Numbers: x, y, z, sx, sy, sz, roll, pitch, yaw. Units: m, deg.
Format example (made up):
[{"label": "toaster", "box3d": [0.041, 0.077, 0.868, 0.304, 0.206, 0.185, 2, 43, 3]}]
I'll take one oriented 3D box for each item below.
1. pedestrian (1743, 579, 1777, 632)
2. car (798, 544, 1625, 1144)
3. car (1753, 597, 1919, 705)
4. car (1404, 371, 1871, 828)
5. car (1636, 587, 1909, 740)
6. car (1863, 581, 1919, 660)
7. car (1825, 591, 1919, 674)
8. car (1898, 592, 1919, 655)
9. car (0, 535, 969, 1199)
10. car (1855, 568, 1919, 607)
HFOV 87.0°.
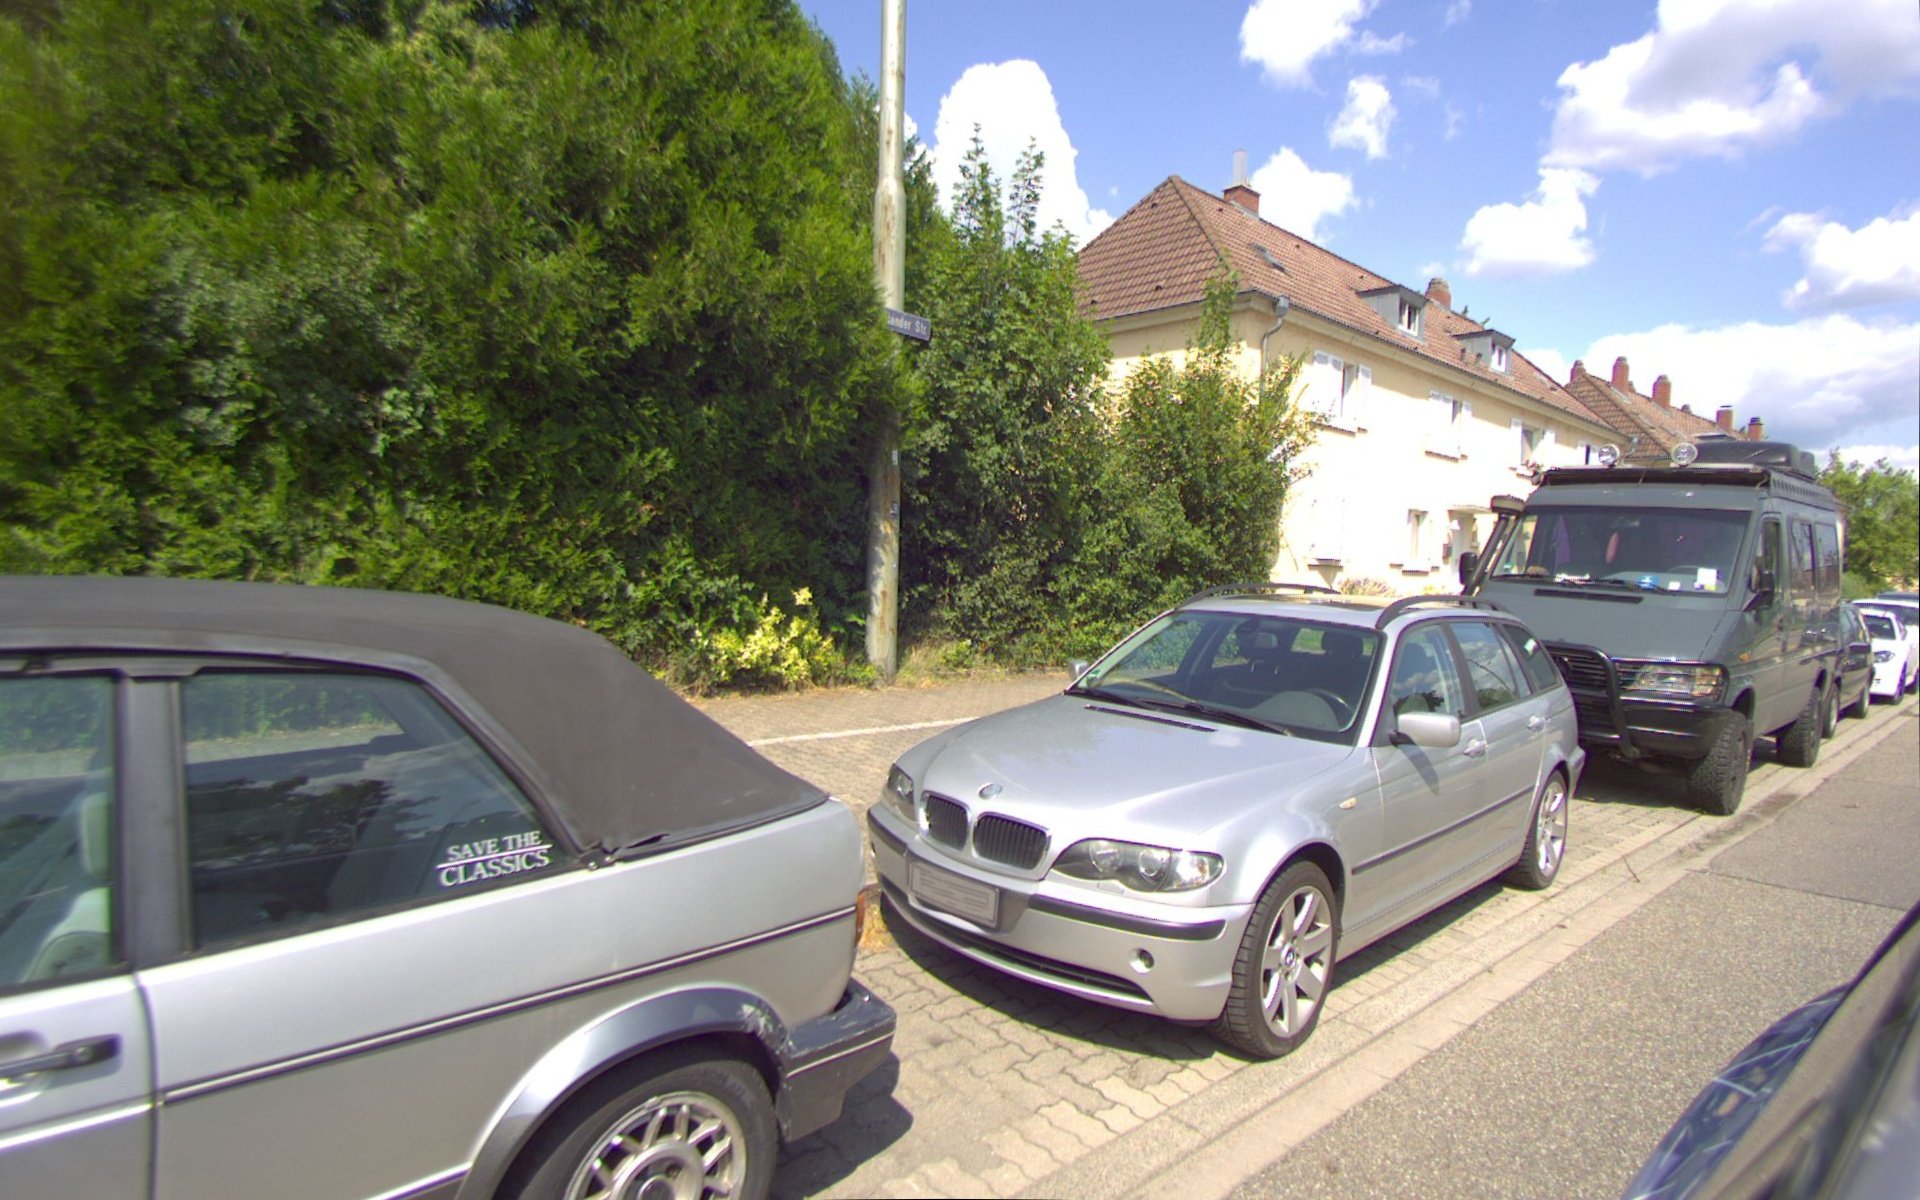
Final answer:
[{"label": "pedestrian", "box3d": [25.958, 0.160, 32.841, 0.885, 1.658, 0.617, -1, 4, -41]}, {"label": "car", "box3d": [1.513, 0.566, 4.711, 4.284, 1.534, 1.693, -1, 4, -44]}, {"label": "car", "box3d": [13.736, 0.679, 15.557, 4.058, 1.311, 1.724, -1, 4, -42]}, {"label": "car", "box3d": [5.889, -0.070, 8.523, 4.794, 2.794, 2.000, 0, 3, -41]}, {"label": "car", "box3d": [9.901, 0.599, 12.179, 4.753, 1.419, 1.724, -1, 4, -41]}, {"label": "car", "box3d": [21.989, 0.436, 22.986, 4.198, 1.650, 1.682, -1, 4, -42]}, {"label": "car", "box3d": [18.557, 0.580, 19.964, 3.955, 1.435, 1.653, 0, 4, -41]}, {"label": "car", "box3d": [25.726, 0.612, 26.157, 4.439, 1.454, 1.689, -2, 5, -42]}, {"label": "car", "box3d": [-2.050, 0.615, 1.637, 4.025, 1.448, 1.655, -1, 4, -41]}, {"label": "car", "box3d": [45.750, -0.600, 49.744, 3.973, 1.768, 1.928, 0, 3, -38]}]
